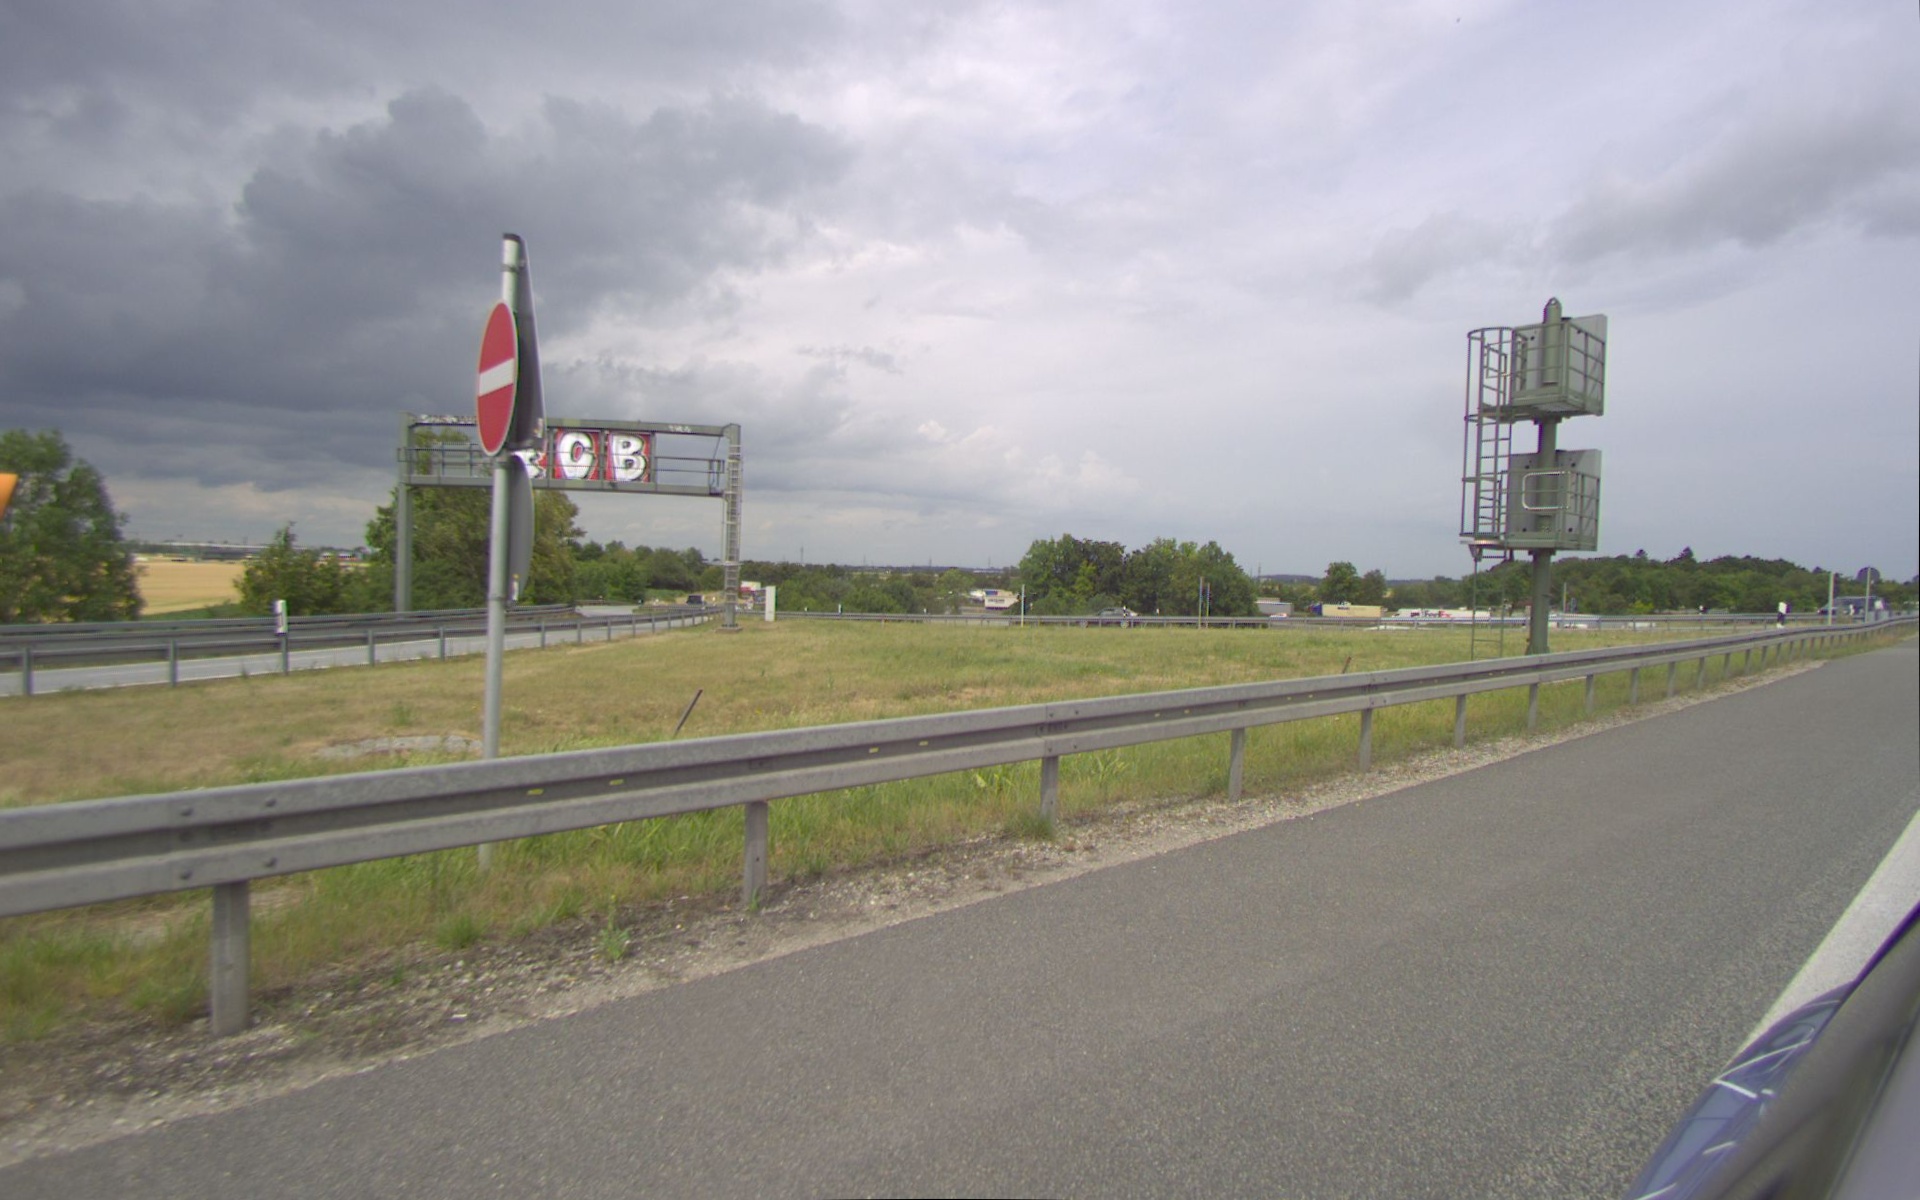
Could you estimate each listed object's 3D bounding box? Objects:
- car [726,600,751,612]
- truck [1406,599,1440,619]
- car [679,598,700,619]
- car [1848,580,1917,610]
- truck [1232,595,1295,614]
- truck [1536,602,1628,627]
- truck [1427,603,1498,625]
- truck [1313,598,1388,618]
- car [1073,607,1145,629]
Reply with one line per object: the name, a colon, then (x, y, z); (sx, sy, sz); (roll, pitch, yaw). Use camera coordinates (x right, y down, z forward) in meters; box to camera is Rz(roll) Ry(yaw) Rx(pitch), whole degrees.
car: (-31.606, 0.823, 144.571); (1.969, 1.731, 3.986); (1, 0, 11)
truck: (105.115, 2.024, 229.724); (6.259, 4.568, 3.879); (1, 0, 38)
car: (-31.037, 0.995, 116.013); (1.872, 2.290, 4.658); (1, 0, -20)
car: (58.051, -0.312, 63.661); (3.918, 1.794, 1.934); (1, 0, -27)
truck: (75.597, 1.095, 252.460); (14.807, 4.612, 3.952); (1, 0, 39)
truck: (129.848, 3.004, 211.569); (16.084, 4.759, 3.940); (1, 1, 38)
truck: (111.563, 3.003, 224.787); (13.713, 4.612, 3.954); (1, 0, 37)
truck: (92.528, 1.842, 239.978); (16.276, 4.612, 3.954); (1, 0, 38)
car: (9.542, 1.122, 64.804); (4.310, 1.297, 1.699); (1, 0, 20)
